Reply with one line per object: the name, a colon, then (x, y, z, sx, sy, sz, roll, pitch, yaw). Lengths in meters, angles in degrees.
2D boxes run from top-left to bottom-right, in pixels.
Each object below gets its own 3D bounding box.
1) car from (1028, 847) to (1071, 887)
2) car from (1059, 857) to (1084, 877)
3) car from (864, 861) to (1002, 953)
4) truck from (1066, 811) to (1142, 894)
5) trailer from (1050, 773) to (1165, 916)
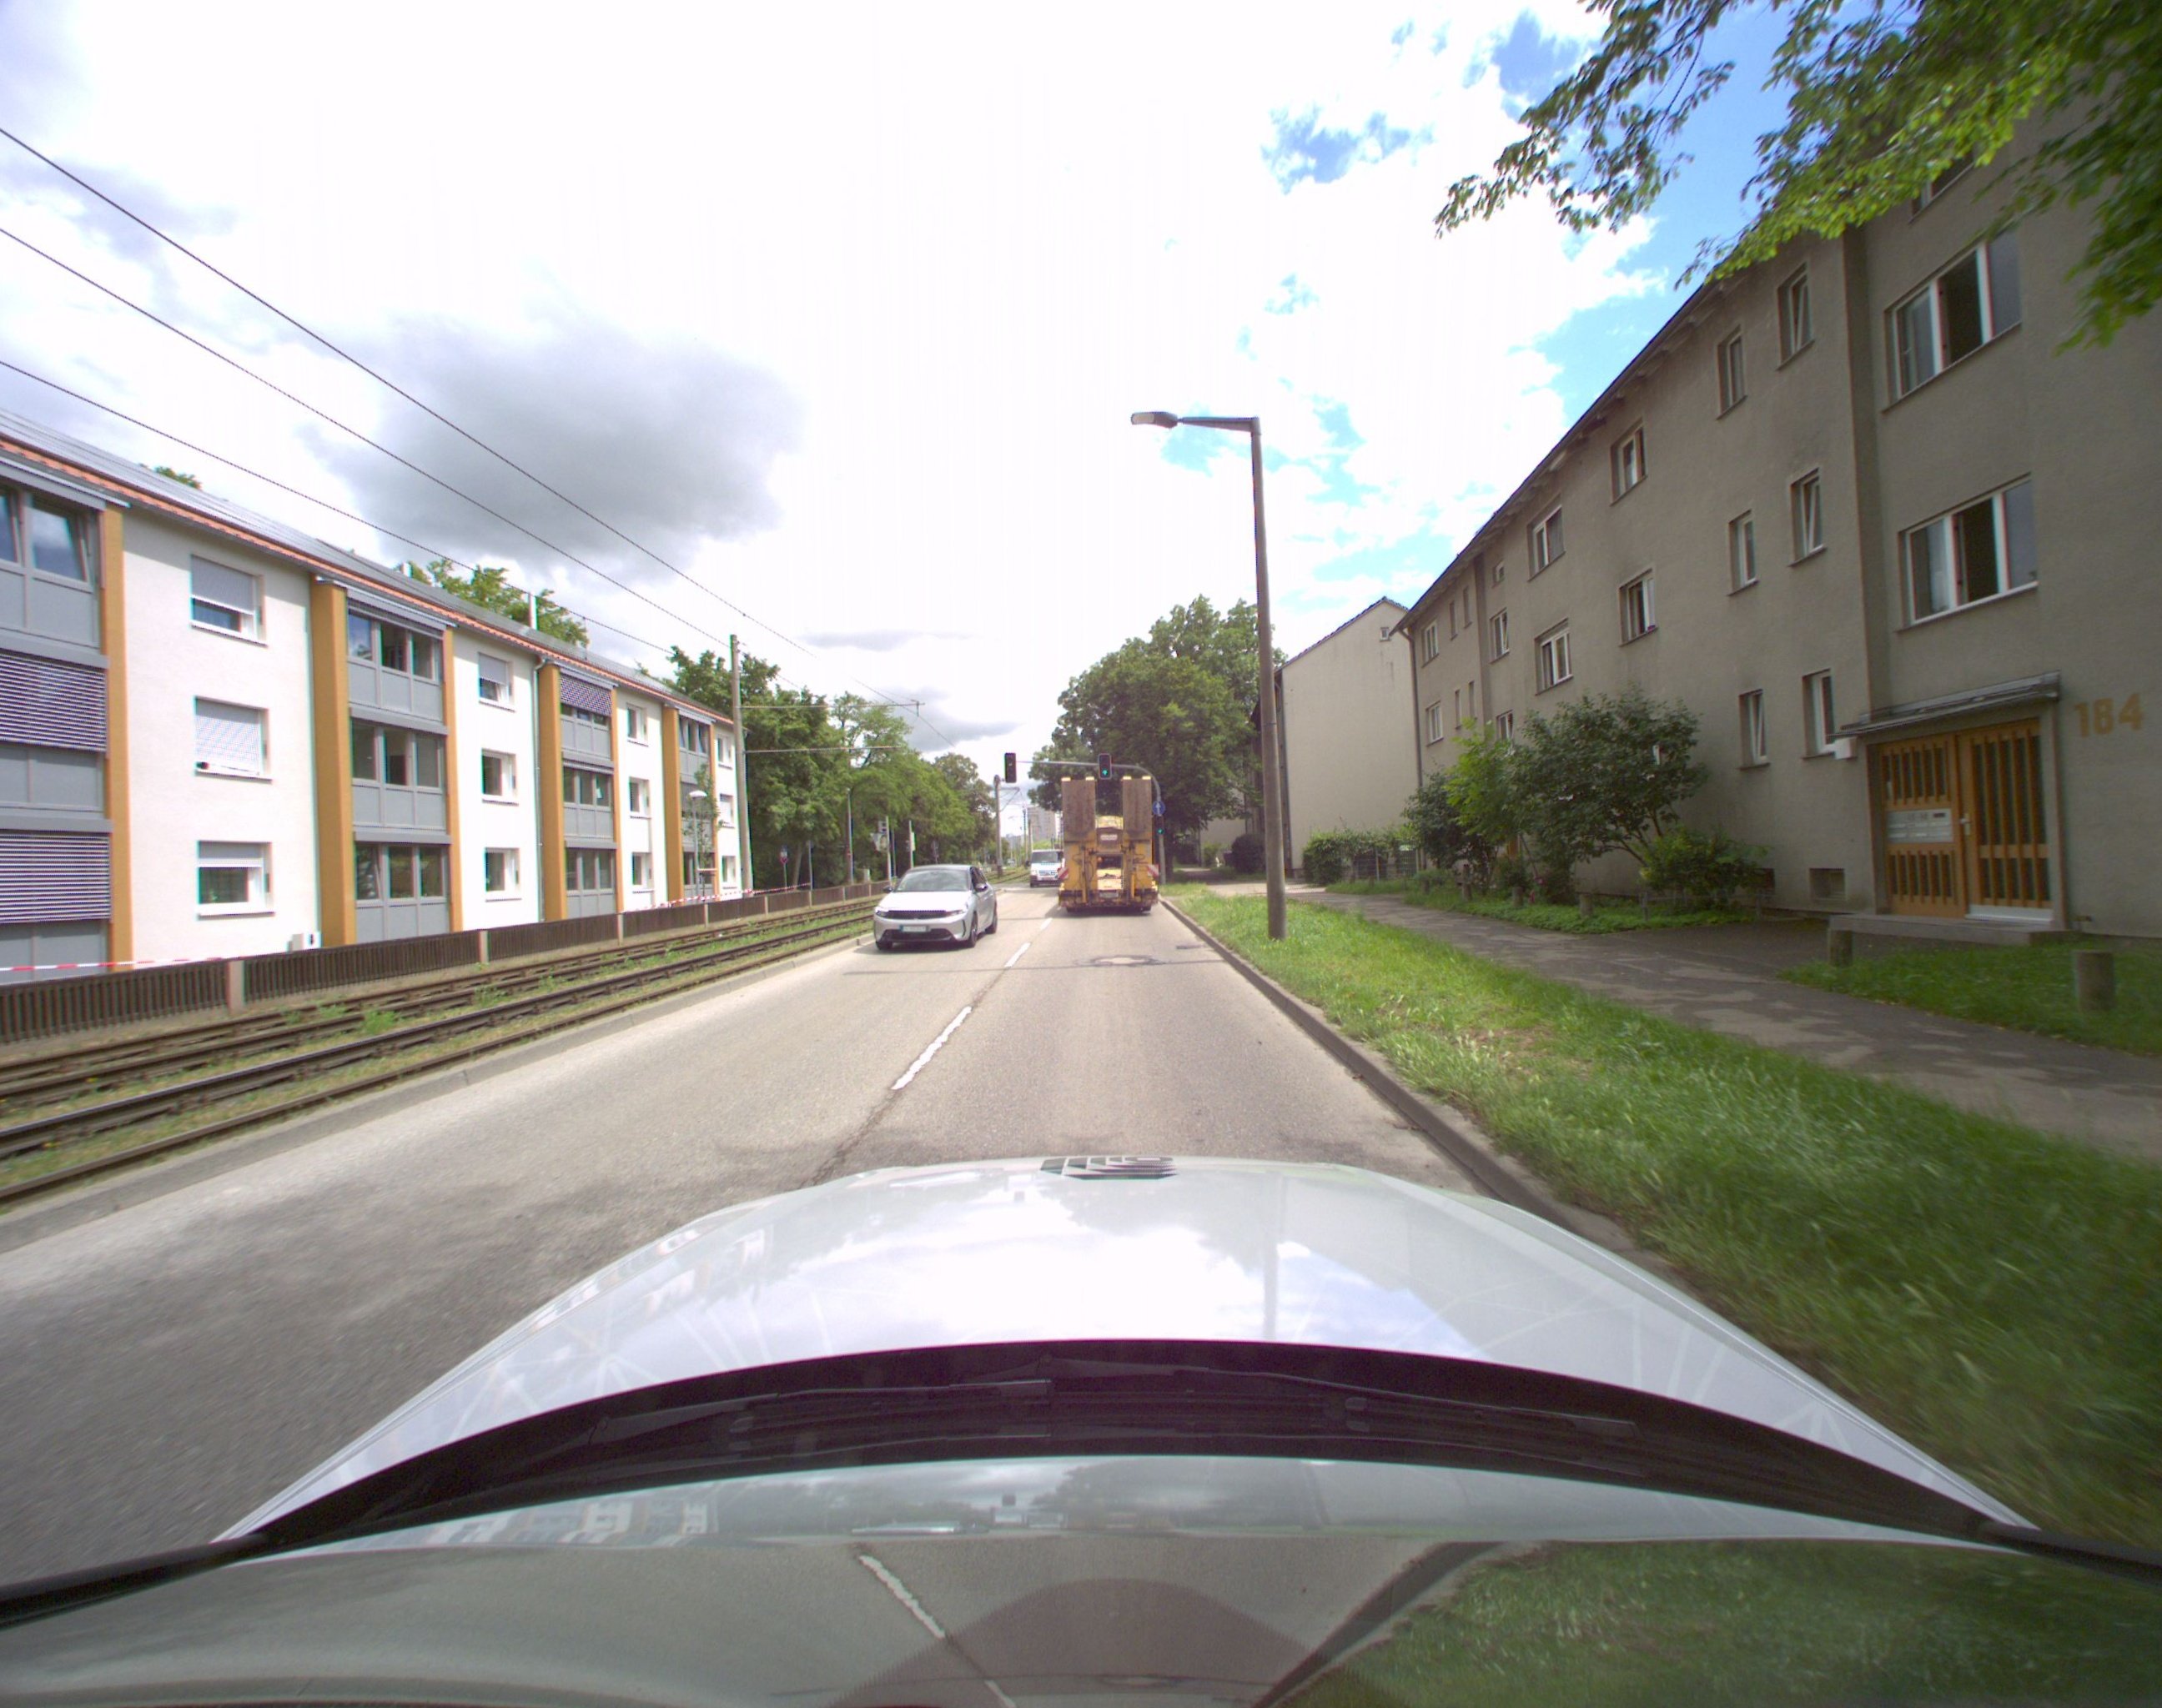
car: (-1.625, 0.667, 43.313, 1.935, 1.940, 4.319, -2, 0, 2)
car: (-0.719, 1.013, 64.396, 1.673, 1.450, 4.075, -3, 0, 2)
car: (-2.624, 0.887, 15.342, 1.723, 1.417, 3.985, -2, 0, 2)
truck: (0.986, -0.061, 35.247, 2.907, 3.167, 7.682, -1, 0, 1)
trailer: (0.743, -0.239, 25.909, 2.813, 3.524, 11.053, -1, 0, 1)
